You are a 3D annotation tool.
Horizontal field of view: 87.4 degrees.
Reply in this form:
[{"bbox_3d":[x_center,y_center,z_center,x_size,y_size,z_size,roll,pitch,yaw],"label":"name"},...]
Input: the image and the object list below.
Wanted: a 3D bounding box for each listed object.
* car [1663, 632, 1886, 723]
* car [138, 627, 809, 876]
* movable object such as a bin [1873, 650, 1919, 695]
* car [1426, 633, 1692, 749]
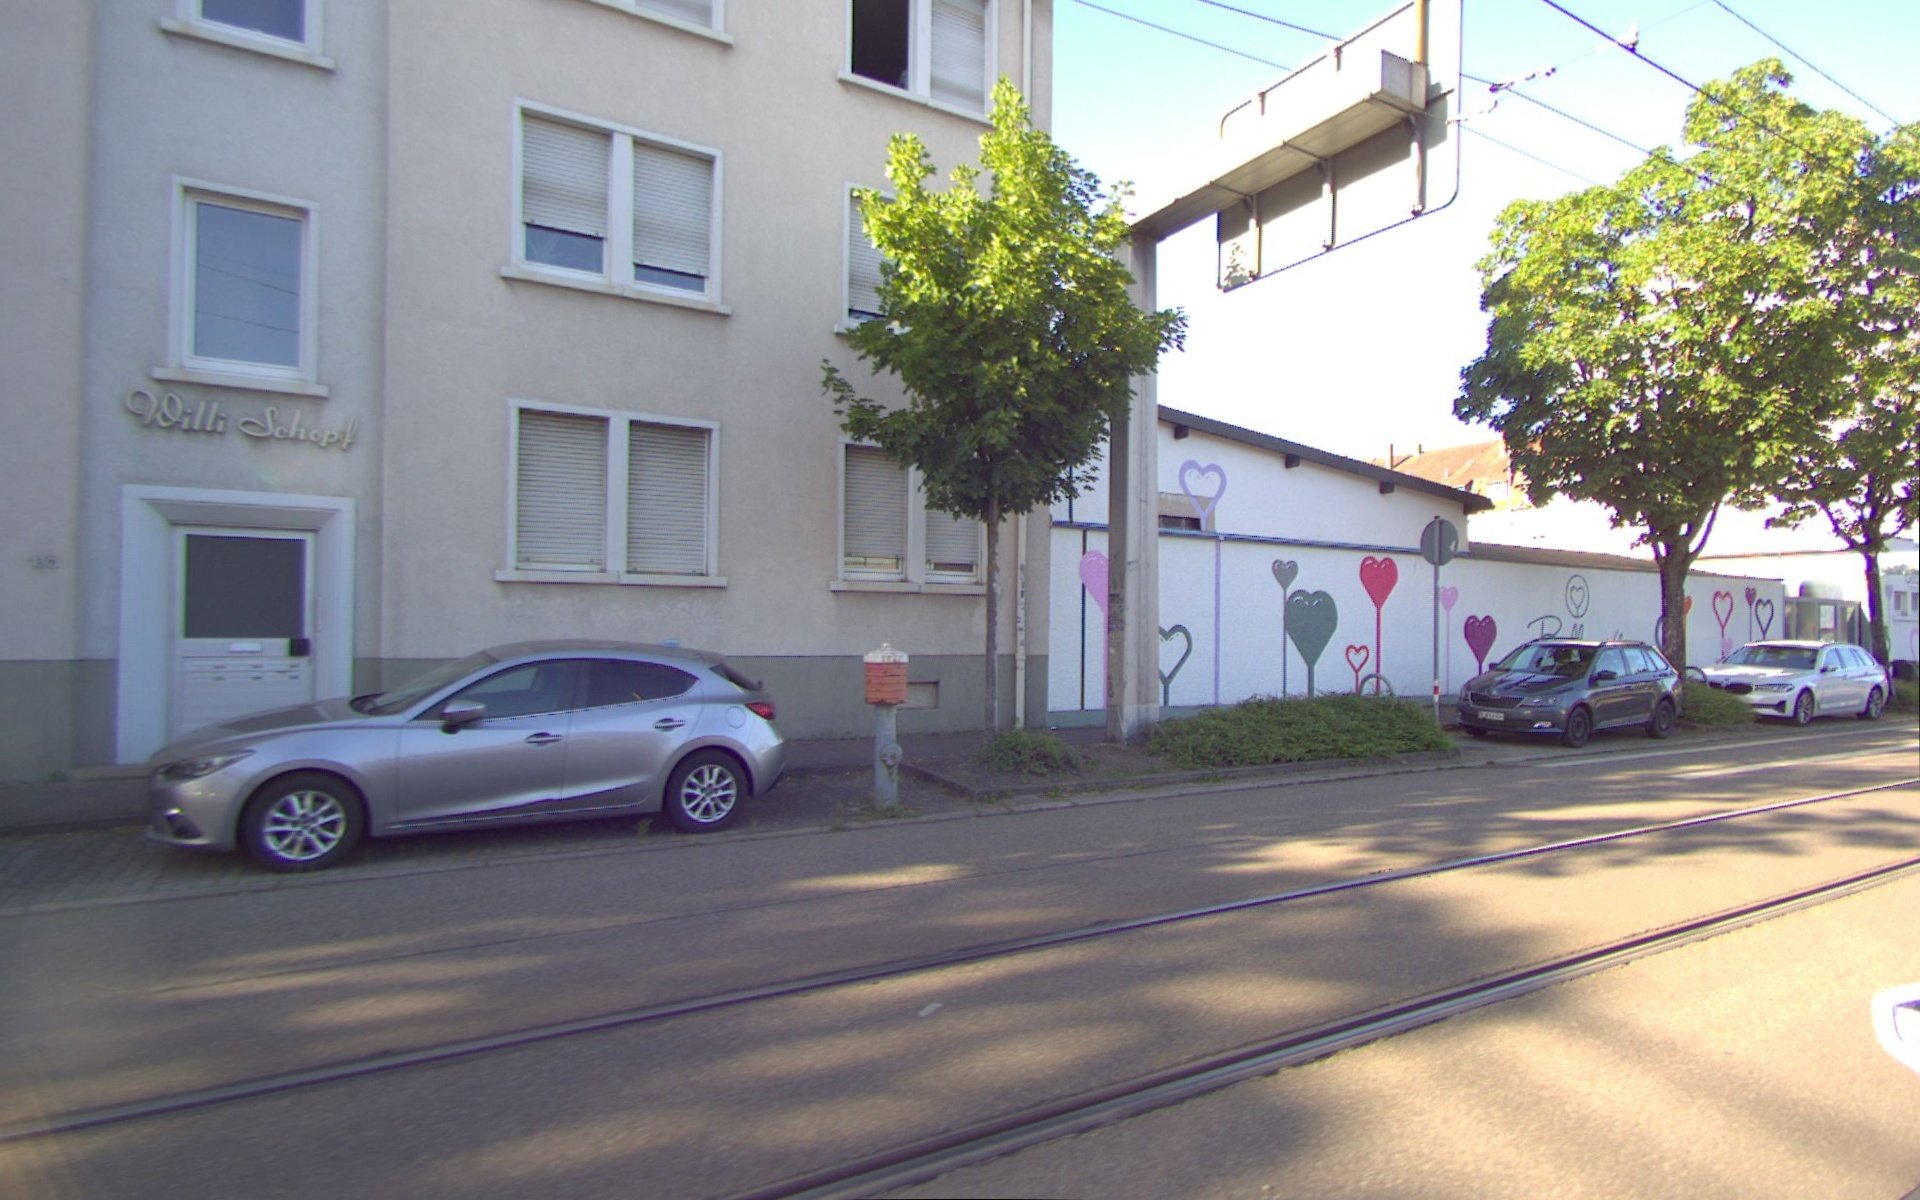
[{"bbox_3d":[15.748,1.436,19.370,4.607,1.510,1.855,2,-1,-31],"label":"car"},{"bbox_3d":[-3.530,0.989,7.905,4.242,1.448,1.864,2,-1,-30],"label":"car"},{"bbox_3d":[21.764,1.680,23.329,0.694,0.973,0.579,2,4,-30],"label":"movable object such as a bin"},{"bbox_3d":[9.247,1.306,15.422,4.257,1.505,1.763,2,-1,-32],"label":"car"}]
